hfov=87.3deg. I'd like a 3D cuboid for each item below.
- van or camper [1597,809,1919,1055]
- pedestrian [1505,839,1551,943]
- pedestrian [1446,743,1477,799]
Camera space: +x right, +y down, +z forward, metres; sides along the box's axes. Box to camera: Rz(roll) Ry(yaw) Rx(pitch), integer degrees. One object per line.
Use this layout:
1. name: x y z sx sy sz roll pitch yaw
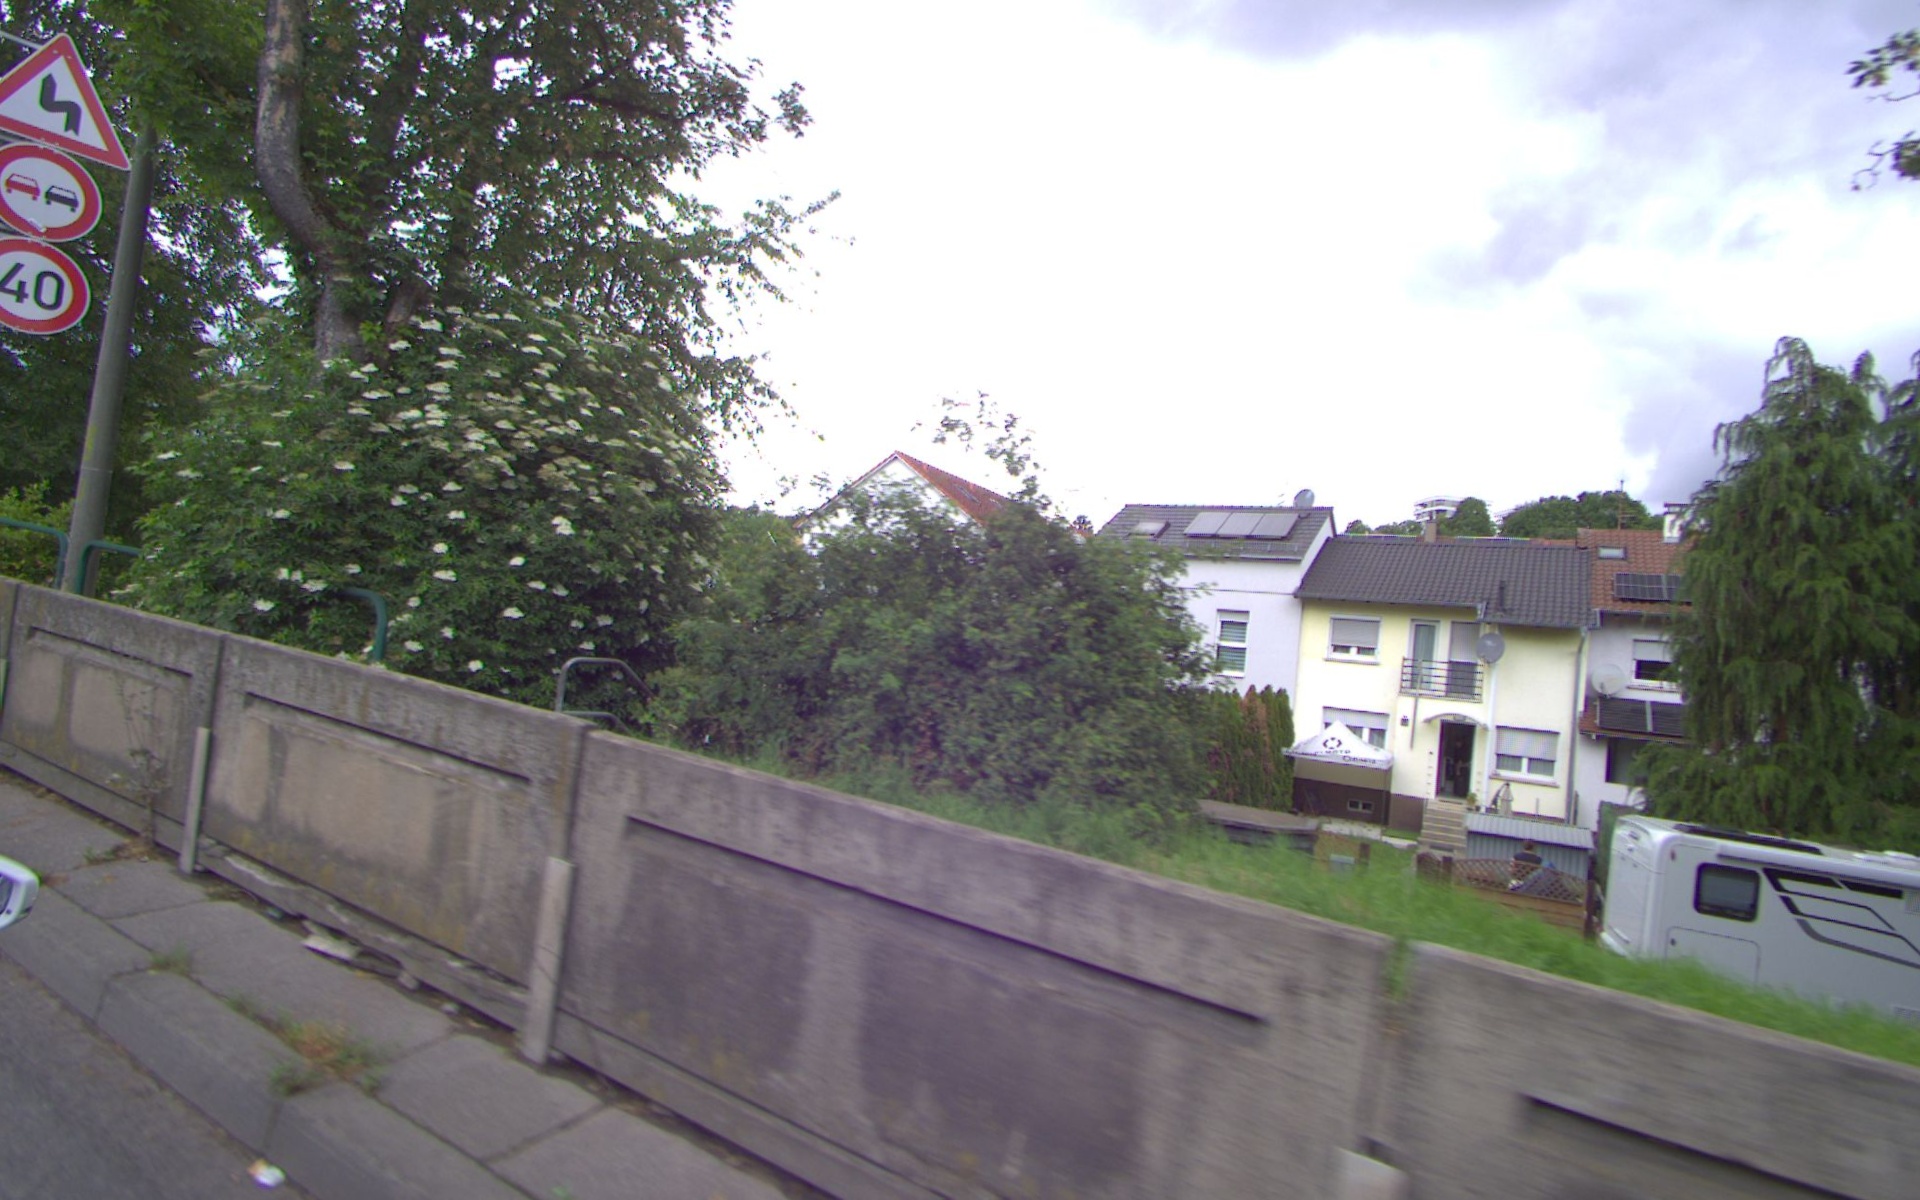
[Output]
1. van or camper: 11.020 3.992 11.617 5.734 2.034 2.188 6 -5 23
2. pedestrian: 9.277 4.736 16.440 0.511 1.542 0.308 6 -4 24
3. pedestrian: 15.036 5.118 30.157 0.539 1.542 0.534 7 -4 1
